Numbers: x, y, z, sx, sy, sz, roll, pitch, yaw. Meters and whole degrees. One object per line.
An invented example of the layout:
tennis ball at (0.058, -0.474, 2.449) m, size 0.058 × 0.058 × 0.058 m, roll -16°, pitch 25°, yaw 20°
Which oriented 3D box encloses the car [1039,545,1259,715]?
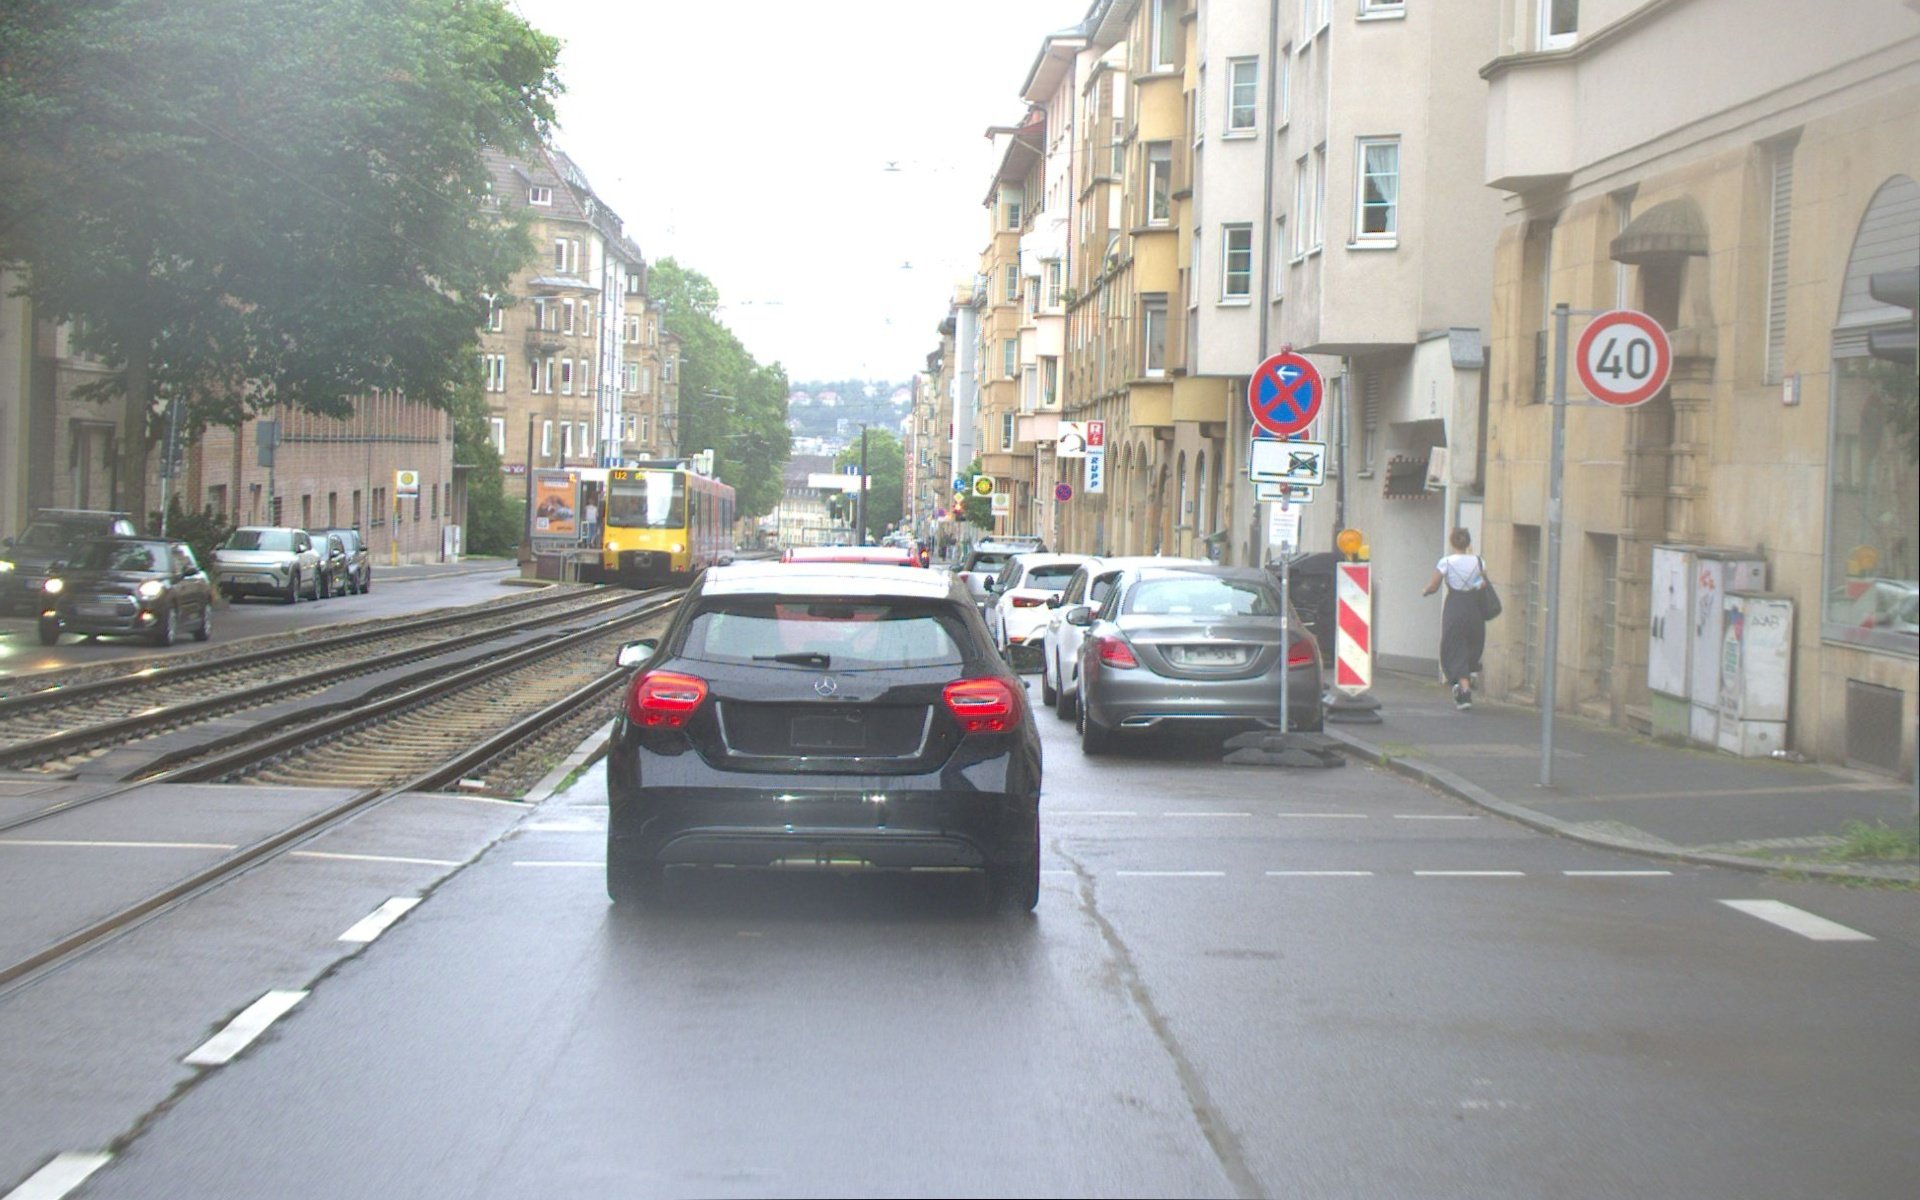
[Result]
car at (1.709, 0.243, 32.469) m, size 1.712 × 1.463 × 4.774 m, roll 1°, pitch 0°, yaw -1°

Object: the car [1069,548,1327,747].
car at (1.786, 0.324, 27.103) m, size 1.711 × 1.405 × 4.817 m, roll 1°, pitch 0°, yaw 0°

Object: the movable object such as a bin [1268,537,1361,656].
movable object such as a bin at (4.460, -0.049, 43.351) m, size 0.980 × 1.463 × 1.273 m, roll 1°, pitch 0°, yaw -2°

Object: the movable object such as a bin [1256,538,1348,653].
movable object such as a bin at (4.449, -0.060, 44.847) m, size 1.018 × 1.463 × 1.323 m, roll 1°, pitch 0°, yaw -2°

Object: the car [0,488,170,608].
car at (-14.235, -0.870, 55.550) m, size 1.953 × 1.736 × 4.780 m, roll 4°, pitch 1°, yaw -3°

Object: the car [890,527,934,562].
car at (-2.182, -2.545, 156.975) m, size 1.887 × 1.520 × 4.245 m, roll 2°, pitch 1°, yaw 1°

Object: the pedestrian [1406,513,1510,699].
pedestrian at (4.592, 0.053, 31.730) m, size 0.804 × 1.681 × 0.754 m, roll 1°, pitch 0°, yaw -2°

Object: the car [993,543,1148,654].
car at (1.412, -0.033, 45.527) m, size 1.789 × 1.381 × 4.395 m, roll 1°, pitch 0°, yaw -1°

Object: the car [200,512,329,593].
car at (-14.667, -1.028, 72.675) m, size 1.961 × 1.600 × 4.329 m, roll 2°, pitch 1°, yaw -2°

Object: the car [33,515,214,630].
car at (-11.026, -0.381, 45.509) m, size 1.653 × 1.457 × 3.735 m, roll 0°, pitch 1°, yaw -3°

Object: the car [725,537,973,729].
car at (-0.957, 0.243, 30.449) m, size 1.993 × 1.520 × 4.246 m, roll 2°, pitch 1°, yaw -1°

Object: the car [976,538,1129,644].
car at (1.302, -0.140, 50.195) m, size 1.832 × 1.463 × 4.376 m, roll 1°, pitch 0°, yaw -3°

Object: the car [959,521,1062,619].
car at (0.909, -0.560, 64.170) m, size 1.778 × 1.744 × 4.549 m, roll 1°, pitch 0°, yaw 0°

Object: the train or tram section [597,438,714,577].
train or tram section at (-9.542, -2.907, 109.490) m, size 2.745 × 4.048 × 17.216 m, roll 1°, pitch 1°, yaw -2°

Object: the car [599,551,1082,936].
car at (-0.497, 0.525, 15.184) m, size 1.834 × 1.448 × 3.902 m, roll 1°, pitch 1°, yaw -1°

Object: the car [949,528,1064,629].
car at (0.783, -0.361, 58.044) m, size 1.841 × 1.602 × 4.760 m, roll 1°, pitch 0°, yaw 1°

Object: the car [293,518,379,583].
car at (-14.799, -1.186, 81.637) m, size 1.572 × 1.461 × 3.045 m, roll 2°, pitch 1°, yaw -3°
